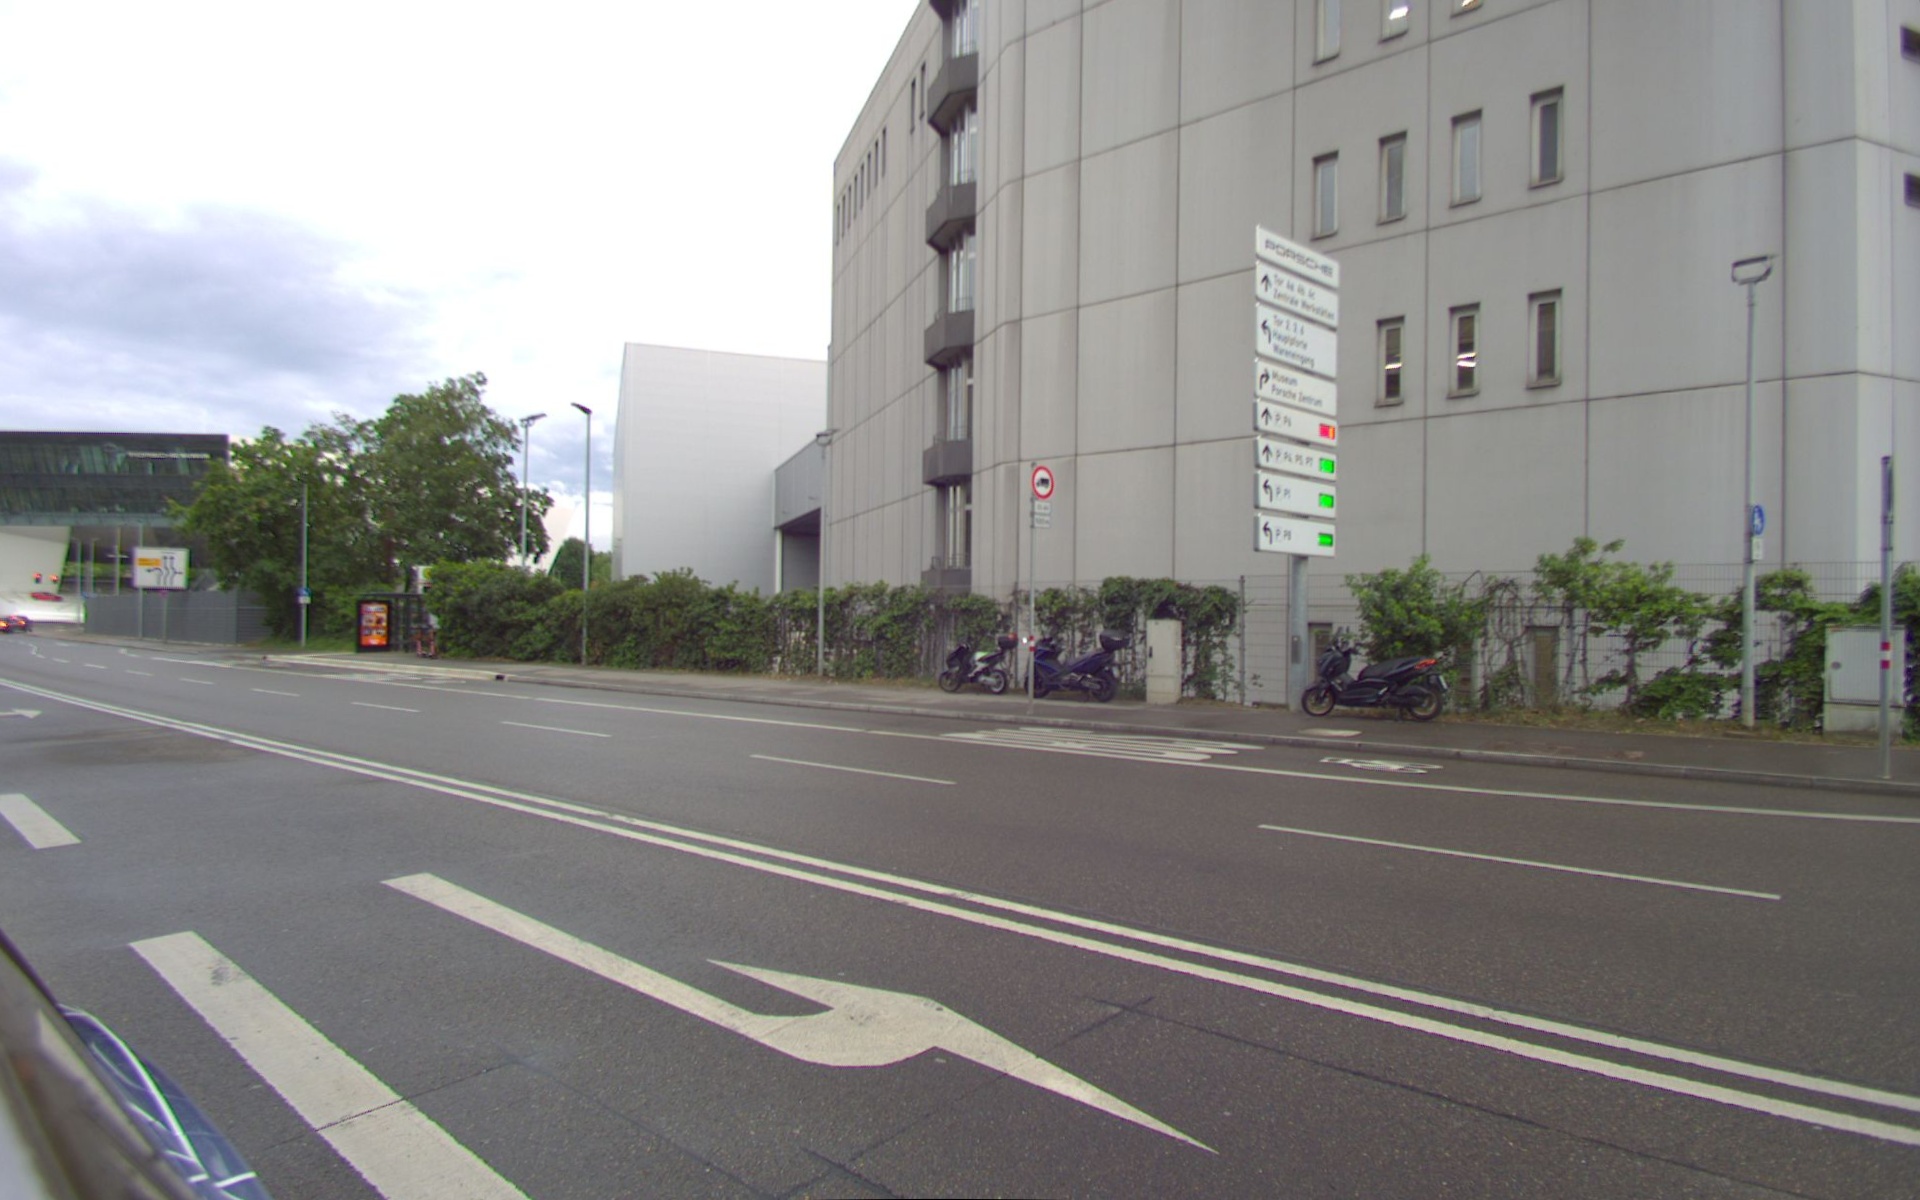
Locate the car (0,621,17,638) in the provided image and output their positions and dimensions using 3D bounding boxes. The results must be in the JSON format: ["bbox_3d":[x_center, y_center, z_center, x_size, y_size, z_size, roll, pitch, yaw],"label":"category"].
[{"bbox_3d":[-85.046,2.555,89.029,2.233,1.488,4.059,1,-1,-32],"label":"car"}]

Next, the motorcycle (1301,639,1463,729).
[{"bbox_3d":[6.407,1.235,15.444,2.156,1.257,0.777,-1,-2,40],"label":"motorcycle"}]

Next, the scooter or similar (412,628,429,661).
[{"bbox_3d":[-20.304,1.667,38.071,0.383,1.189,1.253,1,-2,-36],"label":"scooter or similar"}]

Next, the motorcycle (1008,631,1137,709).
[{"bbox_3d":[2.067,1.265,18.845,2.368,1.358,0.776,-1,-2,40],"label":"motorcycle"}]

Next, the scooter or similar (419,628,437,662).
[{"bbox_3d":[-19.417,1.639,36.918,0.373,1.190,1.380,1,-2,-36],"label":"scooter or similar"}]

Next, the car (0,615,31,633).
[{"bbox_3d":[-88.914,2.252,94.882,1.834,1.663,3.799,1,-2,-30],"label":"car"}]

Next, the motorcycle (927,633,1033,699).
[{"bbox_3d":[0.388,1.318,20.675,2.156,1.260,0.777,-1,-2,40],"label":"motorcycle"}]
